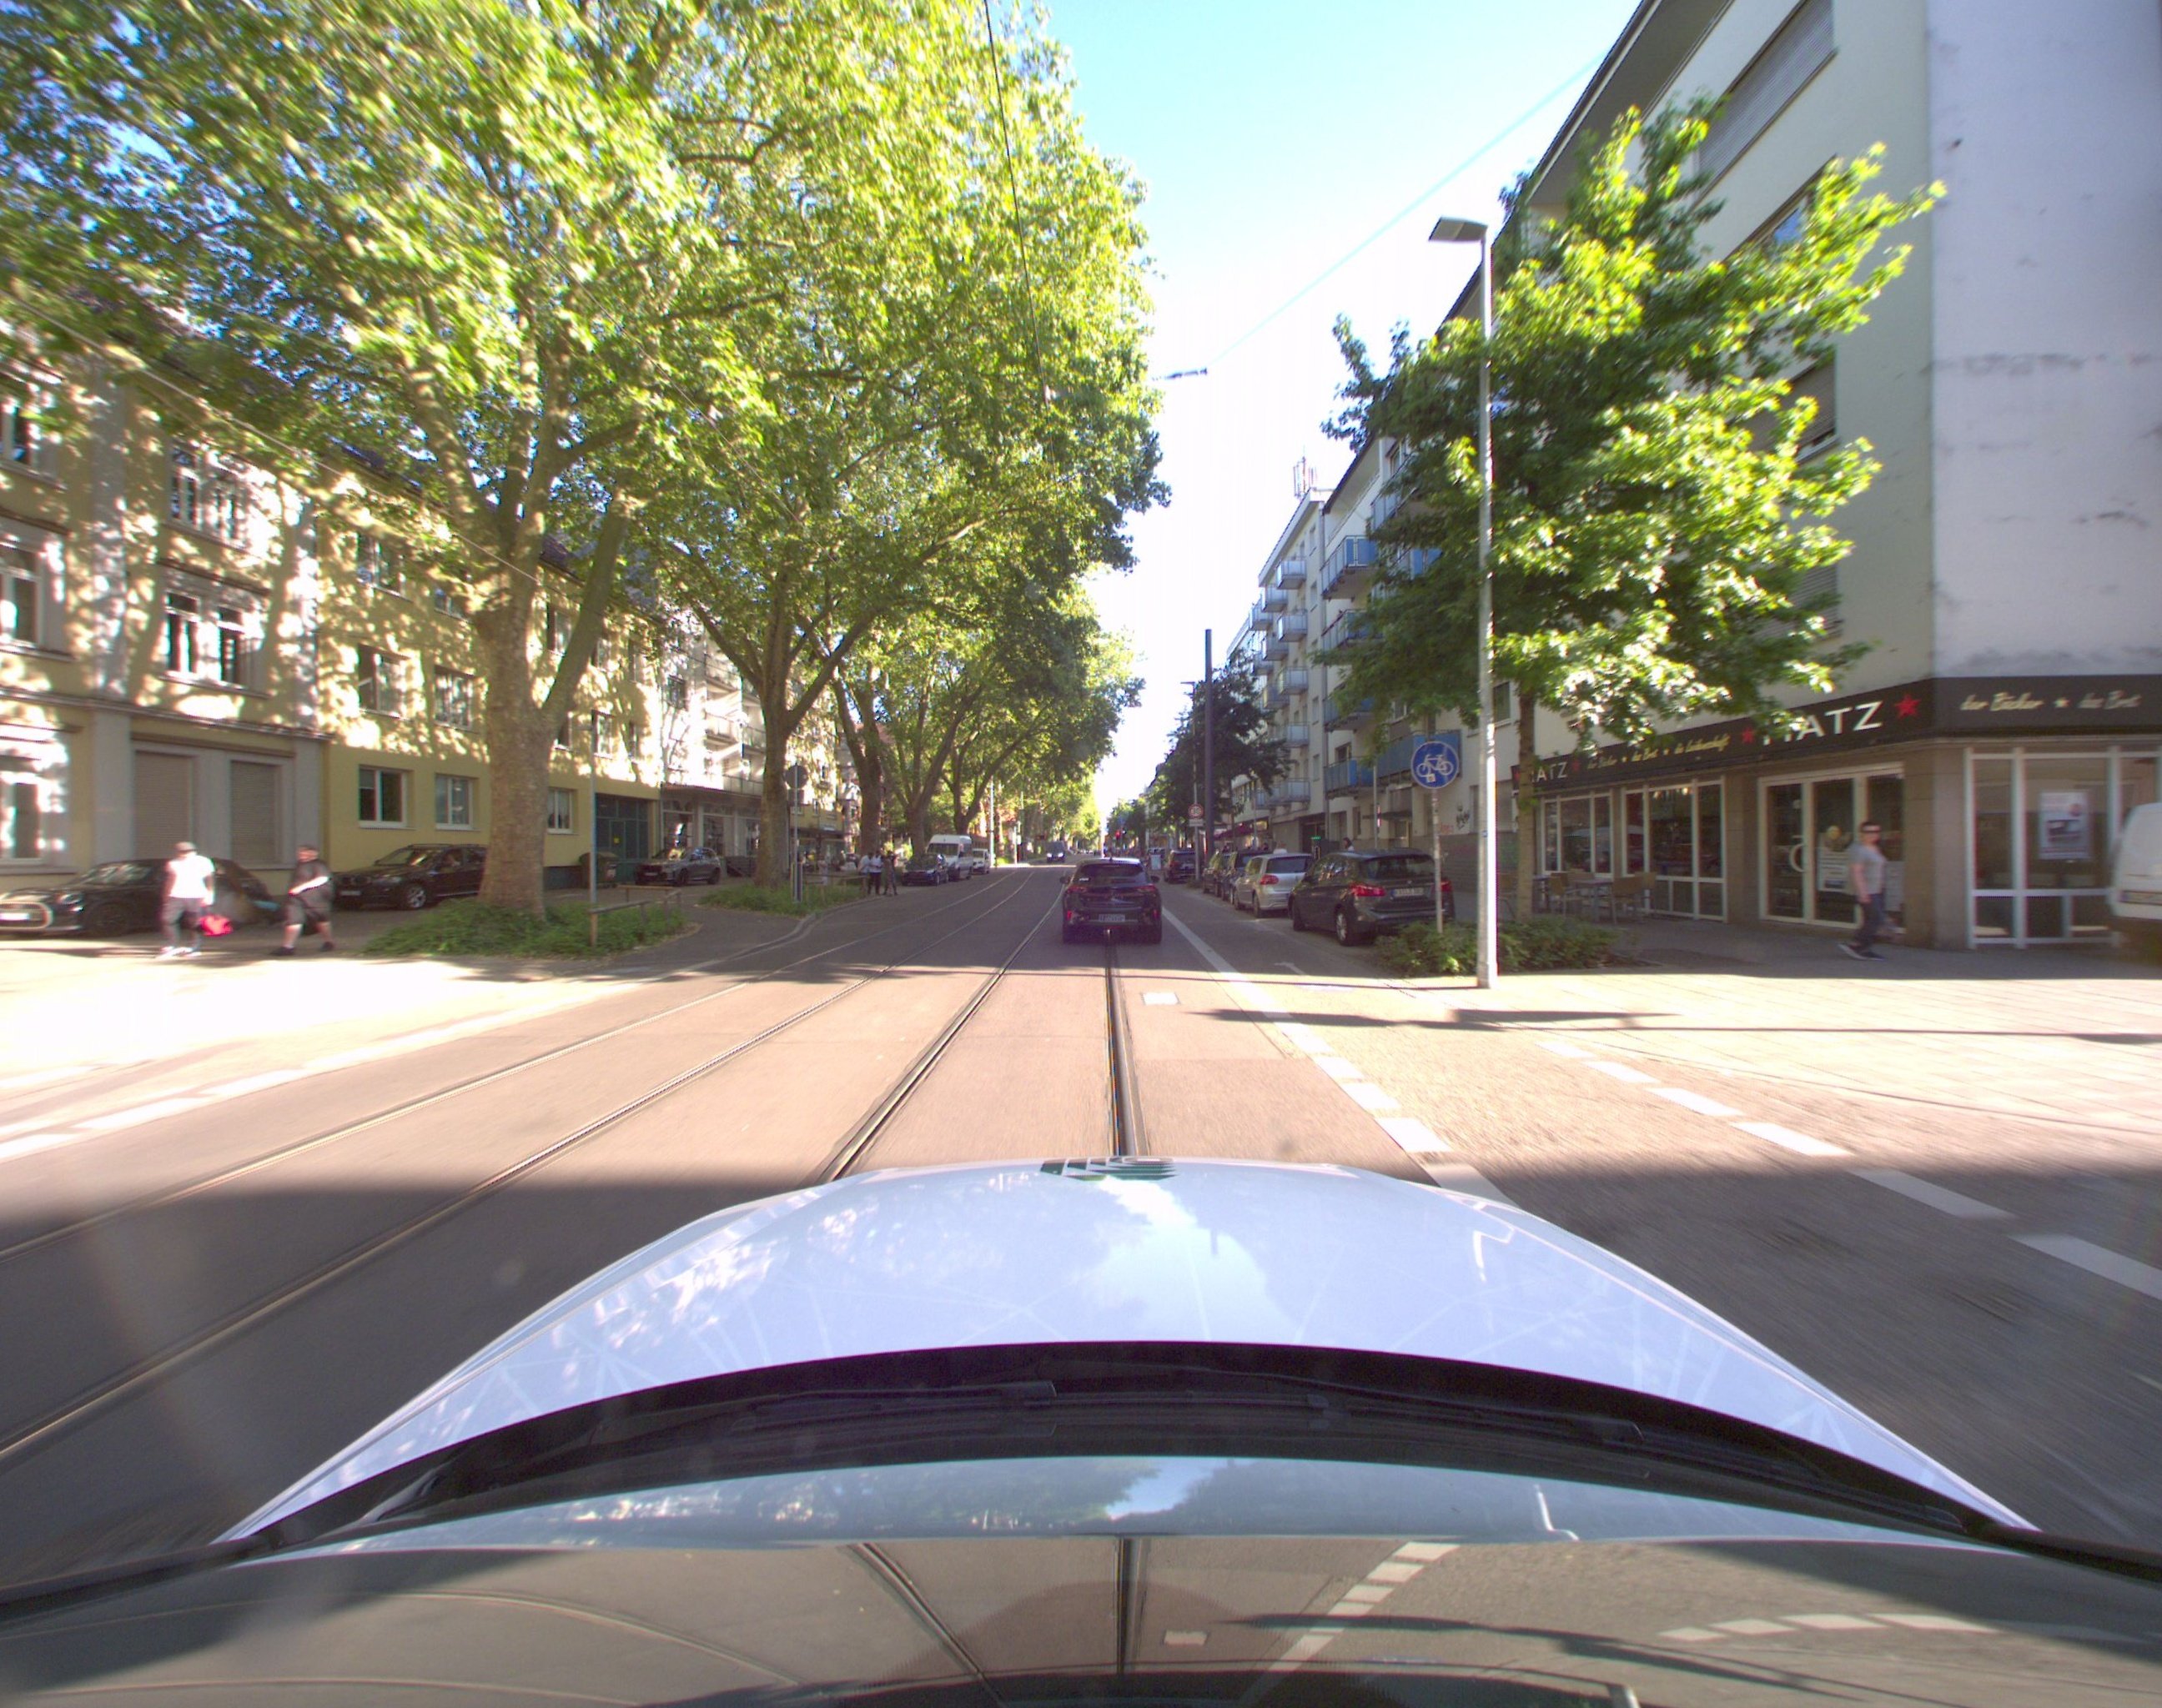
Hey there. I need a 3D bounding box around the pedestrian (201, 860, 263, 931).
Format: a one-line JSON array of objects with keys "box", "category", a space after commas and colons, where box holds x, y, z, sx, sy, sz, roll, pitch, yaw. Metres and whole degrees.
[{"box": [-17.335, 0.836, 16.643, 0.549, 1.403, 0.650, -1, 0, 5], "category": "pedestrian"}]

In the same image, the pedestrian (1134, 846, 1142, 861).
[{"box": [7.635, -0.068, 109.497, 0.853, 2.013, 1.070, -5, -1, 2], "category": "pedestrian"}]

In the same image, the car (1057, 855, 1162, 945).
[{"box": [0.498, 0.741, 14.976, 1.674, 1.422, 3.628, 1, 0, 1], "category": "car"}]

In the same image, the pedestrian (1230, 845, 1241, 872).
[{"box": [10.147, 0.277, 53.566, 0.626, 1.732, 0.633, -1, 0, 6], "category": "pedestrian"}]

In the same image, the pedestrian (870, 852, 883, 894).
[{"box": [-7.820, 0.716, 31.142, 0.345, 1.583, 0.508, -1, 0, 0], "category": "pedestrian"}]

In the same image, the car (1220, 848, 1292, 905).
[{"box": [5.157, 0.628, 24.372, 1.644, 1.574, 3.086, -1, 0, 3], "category": "car"}]

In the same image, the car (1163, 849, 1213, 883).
[{"box": [5.060, 0.549, 39.069, 1.986, 1.508, 4.002, -1, 0, 2], "category": "car"}]

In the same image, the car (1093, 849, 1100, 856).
[{"box": [3.915, -0.324, 205.245, 1.743, 1.651, 4.003, -1, 0, 3], "category": "car"}]

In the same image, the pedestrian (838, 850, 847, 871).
[{"box": [-18.112, 0.520, 61.907, 0.505, 1.583, 0.526, -1, 0, -2], "category": "pedestrian"}]

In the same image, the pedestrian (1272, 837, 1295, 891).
[{"box": [6.319, 0.302, 25.426, 0.597, 1.651, 0.632, -1, 0, 7], "category": "pedestrian"}]

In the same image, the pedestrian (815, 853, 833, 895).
[{"box": [-9.926, 0.761, 31.437, 0.505, 1.583, 0.527, -1, 0, 1], "category": "pedestrian"}]

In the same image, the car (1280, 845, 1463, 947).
[{"box": [5.043, 0.645, 14.752, 1.714, 1.574, 4.081, -1, 0, -3], "category": "car"}]

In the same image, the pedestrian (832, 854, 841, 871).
[{"box": [-18.751, 0.637, 62.537, 0.505, 1.333, 0.526, -1, 0, -2], "category": "pedestrian"}]

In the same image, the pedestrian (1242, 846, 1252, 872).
[{"box": [11.483, 0.334, 56.269, 0.626, 1.732, 0.633, -1, 0, 7], "category": "pedestrian"}]

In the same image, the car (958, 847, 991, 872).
[{"box": [-7.434, 0.363, 57.142, 1.990, 1.717, 3.994, -1, 0, -4], "category": "car"}]

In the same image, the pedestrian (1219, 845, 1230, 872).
[{"box": [9.458, 0.286, 53.615, 0.626, 1.732, 0.633, -1, 0, 6], "category": "pedestrian"}]

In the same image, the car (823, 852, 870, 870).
[{"box": [-22.611, 0.687, 78.677, 3.981, 1.706, 1.996, -1, 0, -5], "category": "car"}]

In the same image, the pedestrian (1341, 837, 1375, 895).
[{"box": [8.545, 0.354, 25.159, 0.789, 1.748, 0.771, -1, 0, 4], "category": "pedestrian"}]

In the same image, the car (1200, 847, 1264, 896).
[{"box": [5.171, 0.568, 28.233, 1.711, 1.574, 3.685, -1, 0, 3], "category": "car"}]

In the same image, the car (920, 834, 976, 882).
[{"box": [-7.544, 0.196, 46.904, 2.085, 2.584, 5.998, -1, 0, 1], "category": "car"}]

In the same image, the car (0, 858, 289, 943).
[{"box": [-18.859, 0.838, 16.475, 1.675, 1.464, 4.002, -1, 0, 2], "category": "car"}]

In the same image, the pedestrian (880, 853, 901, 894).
[{"box": [-7.449, 0.755, 31.851, 0.681, 1.583, 0.557, -1, 0, -1], "category": "pedestrian"}]

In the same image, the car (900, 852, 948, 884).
[{"box": [-7.793, 0.648, 40.777, 1.750, 1.508, 3.997, -1, 0, -2], "category": "car"}]

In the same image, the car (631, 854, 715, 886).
[{"box": [-17.838, 0.655, 35.807, 1.689, 1.276, 3.829, 1, 1, 1], "category": "car"}]

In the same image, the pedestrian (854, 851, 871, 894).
[{"box": [-8.272, 0.698, 30.840, 0.505, 1.583, 0.526, -1, 0, -3], "category": "pedestrian"}]

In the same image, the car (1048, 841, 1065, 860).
[{"box": [-3.062, -0.428, 100.871, 1.989, 2.211, 5.097, -1, 0, -3], "category": "car"}]

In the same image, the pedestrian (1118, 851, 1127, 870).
[{"box": [3.592, 0.562, 70.430, 0.594, 1.590, 0.891, -1, 0, -6], "category": "pedestrian"}]

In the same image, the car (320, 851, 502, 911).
[{"box": [-18.504, 0.675, 22.765, 1.675, 1.517, 4.002, 1, 0, 2], "category": "car"}]

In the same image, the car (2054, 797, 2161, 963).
[{"box": [14.104, 0.260, 9.019, 4.346, 1.831, 1.999, -1, 0, -1], "category": "car"}]

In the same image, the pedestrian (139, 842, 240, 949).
[{"box": [-14.077, 0.634, 12.876, 0.845, 1.632, 0.643, -1, 0, -5], "category": "pedestrian"}]

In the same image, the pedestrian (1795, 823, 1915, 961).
[{"box": [9.653, 0.440, 10.171, 0.772, 1.616, 0.850, -3, 1, -27], "category": "pedestrian"}]

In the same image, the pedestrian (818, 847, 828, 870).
[{"box": [-18.510, 0.319, 58.452, 0.552, 1.583, 0.573, -1, 0, -3], "category": "pedestrian"}]

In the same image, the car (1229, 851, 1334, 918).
[{"box": [4.868, 0.686, 20.244, 1.713, 1.490, 3.681, -1, 0, 0], "category": "car"}]

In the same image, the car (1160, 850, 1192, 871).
[{"box": [7.802, 0.485, 66.582, 1.979, 1.640, 4.016, -1, 0, 15], "category": "car"}]

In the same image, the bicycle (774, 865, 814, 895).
[{"box": [-10.962, 0.977, 31.132, 1.675, 1.062, 0.455, 1, -1, 31], "category": "bicycle"}]

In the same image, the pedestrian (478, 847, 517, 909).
[{"box": [-15.794, 0.641, 22.062, 0.549, 1.652, 0.650, -1, 0, 5], "category": "pedestrian"}]

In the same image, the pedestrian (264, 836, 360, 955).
[{"box": [-12.442, 0.658, 13.197, 0.903, 1.869, 0.643, -1, 0, -5], "category": "pedestrian"}]

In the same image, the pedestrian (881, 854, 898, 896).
[{"box": [-7.323, 0.786, 31.142, 0.505, 1.583, 0.527, -1, 0, 1], "category": "pedestrian"}]

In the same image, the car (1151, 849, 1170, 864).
[{"box": [9.304, 0.232, 95.654, 1.986, 1.706, 4.002, -1, 0, 2], "category": "car"}]
